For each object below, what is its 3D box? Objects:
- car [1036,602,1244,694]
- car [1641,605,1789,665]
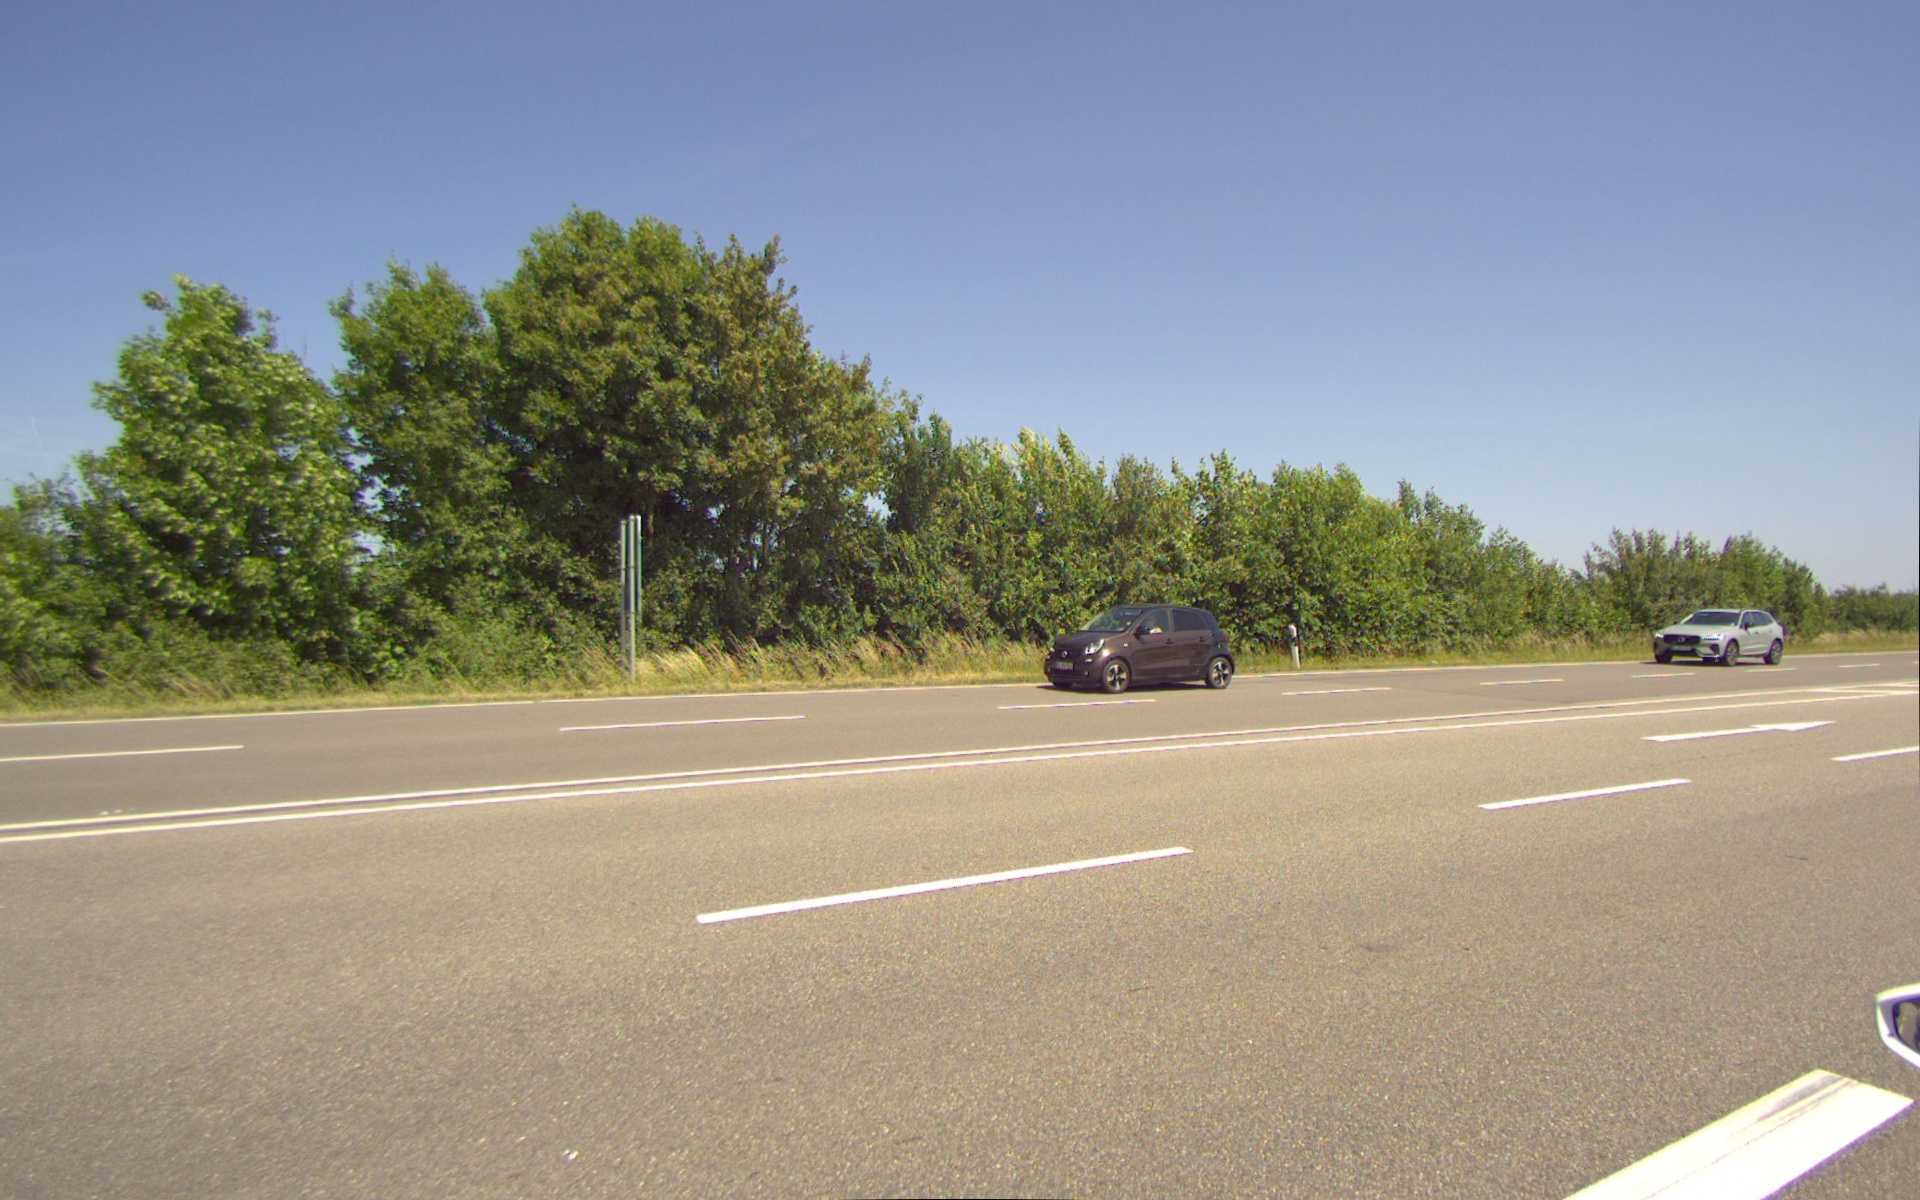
[{"bbox_3d":[3.299,0.826,18.258,3.518,1.507,1.636,1,0,-31],"label":"car"},{"bbox_3d":[22.644,1.017,30.077,4.517,1.661,2.017,1,0,-31],"label":"car"}]
